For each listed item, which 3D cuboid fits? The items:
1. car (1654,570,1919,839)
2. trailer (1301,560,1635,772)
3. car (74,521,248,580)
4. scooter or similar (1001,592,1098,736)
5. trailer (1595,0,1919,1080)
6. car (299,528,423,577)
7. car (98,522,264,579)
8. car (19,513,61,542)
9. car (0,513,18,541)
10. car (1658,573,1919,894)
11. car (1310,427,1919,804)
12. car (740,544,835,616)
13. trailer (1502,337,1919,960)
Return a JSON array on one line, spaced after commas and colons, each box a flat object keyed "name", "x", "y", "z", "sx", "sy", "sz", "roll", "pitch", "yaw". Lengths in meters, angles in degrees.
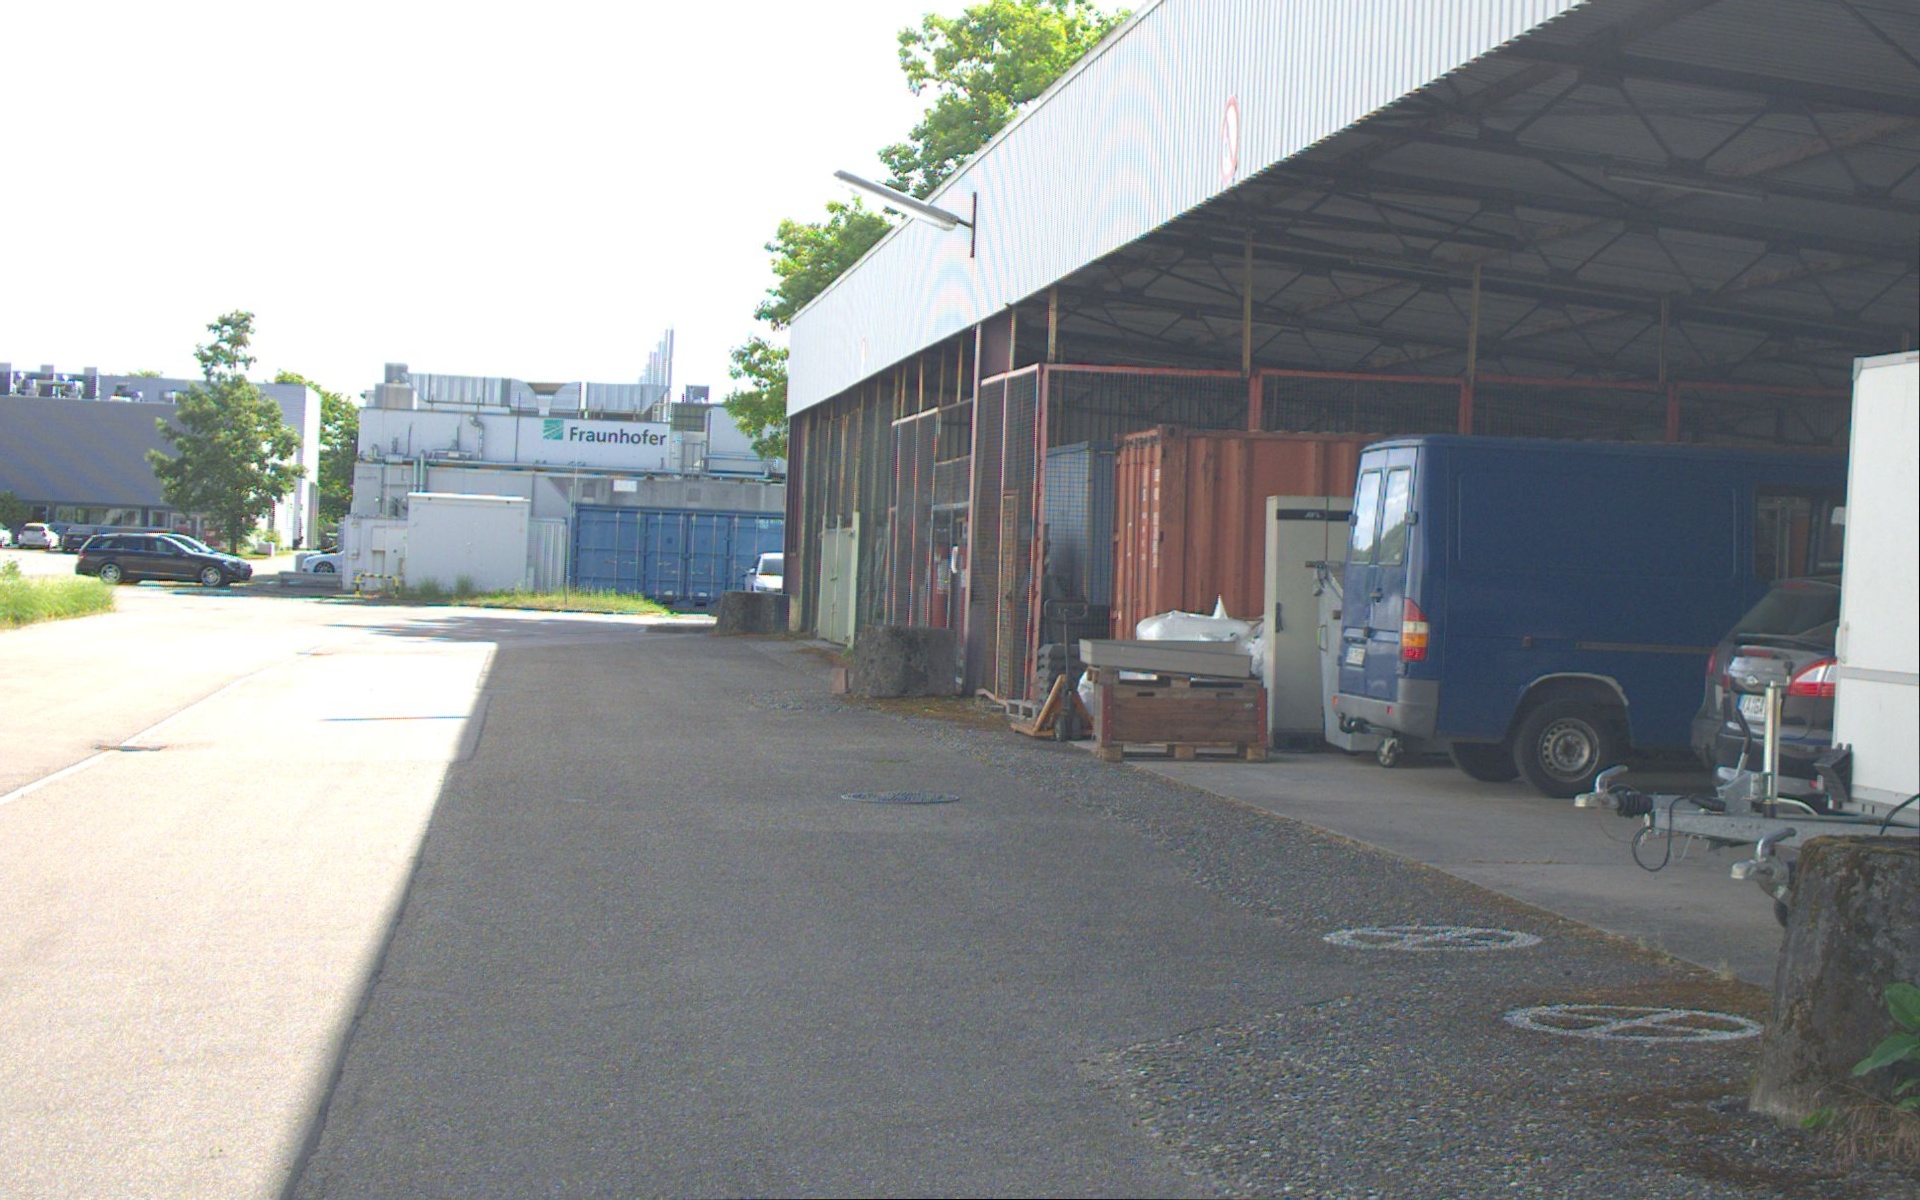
[{"name": "car", "x": 6.304, "y": 0.584, "z": 19.840, "sx": 4.106, "sy": 1.449, "sz": 1.851, "roll": 1, "pitch": 0, "yaw": -7}, {"name": "trailer", "x": 3.712, "y": 0.469, "z": 25.370, "sx": 2.094, "sy": 1.457, "sz": 1.642, "roll": 2, "pitch": 0, "yaw": -4}, {"name": "car", "x": -22.537, "y": -1.381, "z": 97.114, "sx": 4.528, "sy": 1.438, "sz": 1.988, "roll": 2, "pitch": -1, "yaw": -7}, {"name": "scooter or similar", "x": 0.727, "y": 0.512, "z": 28.207, "sx": 0.520, "sy": 1.131, "sz": 1.593, "roll": 2, "pitch": 0, "yaw": -8}, {"name": "trailer", "x": 7.603, "y": -0.219, "z": 11.745, "sx": 10.291, "sy": 3.284, "sz": 2.676, "roll": 1, "pitch": 1, "yaw": -6}, {"name": "car", "x": -21.789, "y": -1.716, "z": 125.167, "sx": 4.278, "sy": 1.564, "sz": 1.988, "roll": 2, "pitch": -1, "yaw": -7}, {"name": "car", "x": -22.715, "y": -1.428, "z": 100.375, "sx": 4.528, "sy": 1.438, "sz": 1.904, "roll": 2, "pitch": -1, "yaw": -7}, {"name": "car", "x": -51.173, "y": -4.029, "z": 191.346, "sx": 1.877, "sy": 1.532, "sz": 4.037, "roll": 1, "pitch": 1, "yaw": -10}, {"name": "car", "x": -53.456, "y": -4.057, "z": 190.841, "sx": 1.877, "sy": 1.532, "sz": 4.037, "roll": 1, "pitch": 1, "yaw": -10}, {"name": "car", "x": 5.812, "y": 0.619, "z": 16.699, "sx": 4.342, "sy": 1.428, "sz": 1.865, "roll": 1, "pitch": 1, "yaw": -10}, {"name": "car", "x": 5.162, "y": 0.122, "z": 22.919, "sx": 5.215, "sy": 2.289, "sz": 2.084, "roll": 2, "pitch": 0, "yaw": -8}, {"name": "car", "x": -4.385, "y": -0.528, "z": 86.662, "sx": 1.980, "sy": 1.588, "sz": 4.342, "roll": 3, "pitch": 2, "yaw": -8}, {"name": "trailer", "x": 4.659, "y": 0.194, "z": 13.934, "sx": 4.541, "sy": 2.327, "sz": 1.689, "roll": 1, "pitch": 1, "yaw": -6}]
